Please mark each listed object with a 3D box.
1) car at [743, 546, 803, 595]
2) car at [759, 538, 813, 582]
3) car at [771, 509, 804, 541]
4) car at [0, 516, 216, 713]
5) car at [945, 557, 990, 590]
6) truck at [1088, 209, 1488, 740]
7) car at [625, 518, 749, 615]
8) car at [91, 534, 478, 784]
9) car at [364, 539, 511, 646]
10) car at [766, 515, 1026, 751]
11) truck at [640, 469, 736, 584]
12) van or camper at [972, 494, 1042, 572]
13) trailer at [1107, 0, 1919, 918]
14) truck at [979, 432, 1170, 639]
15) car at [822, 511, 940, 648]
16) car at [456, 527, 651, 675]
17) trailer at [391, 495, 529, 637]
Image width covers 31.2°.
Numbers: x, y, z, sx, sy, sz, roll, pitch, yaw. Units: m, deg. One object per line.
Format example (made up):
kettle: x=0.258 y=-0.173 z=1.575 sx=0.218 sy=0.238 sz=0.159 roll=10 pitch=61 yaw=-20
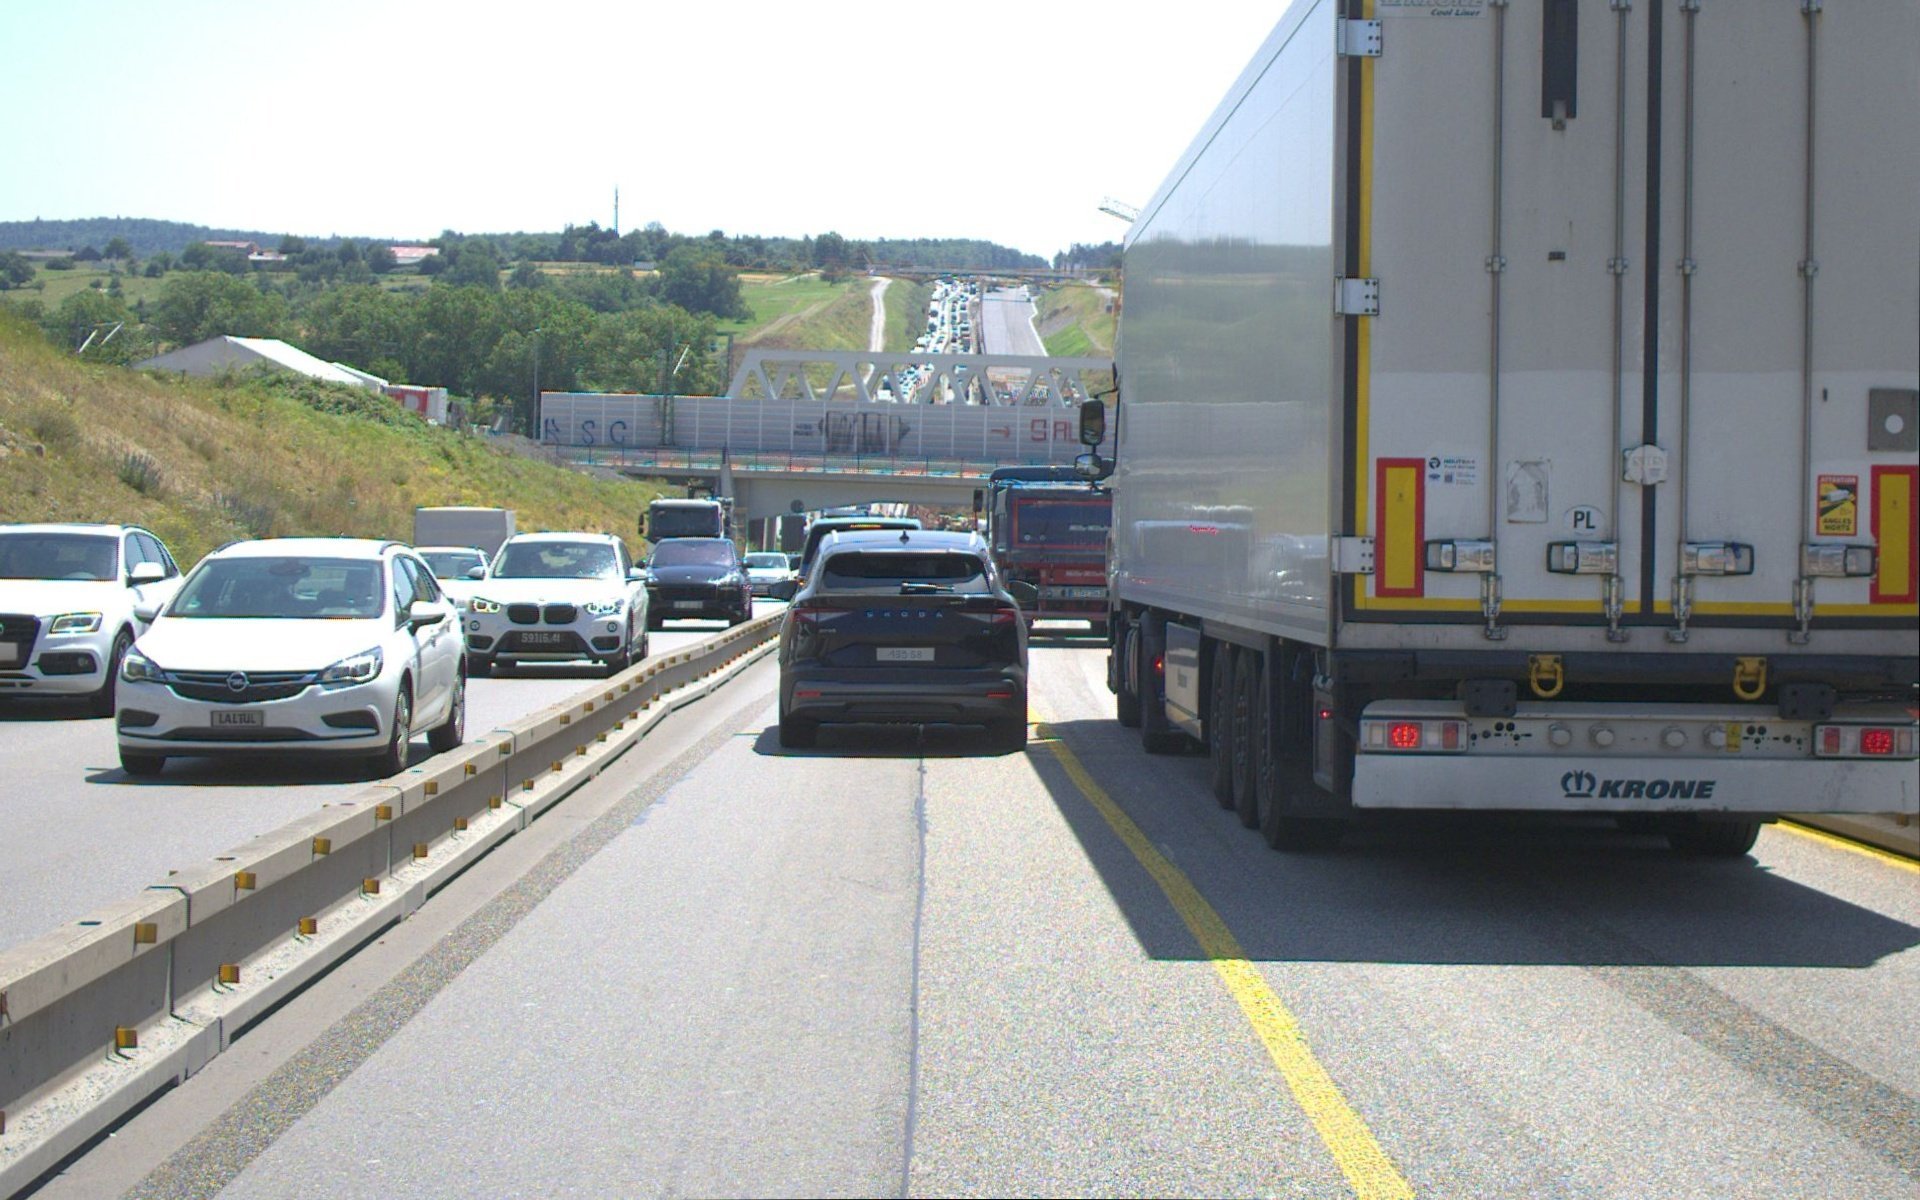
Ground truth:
car: x=-5.563 y=-0.890 z=102.456 sx=1.684 sy=1.425 sz=3.293 roll=0 pitch=1 yaw=-2
car: x=-5.734 y=-1.337 z=113.648 sx=1.684 sy=1.425 sz=4.123 roll=0 pitch=1 yaw=-2
car: x=-9.751 y=-4.239 z=194.118 sx=1.732 sy=1.787 sz=3.581 roll=1 pitch=1 yaw=-1
car: x=-7.898 y=0.068 z=30.030 sx=1.899 sy=1.579 sz=4.515 roll=1 pitch=1 yaw=-1
car: x=0.266 y=-0.987 z=128.065 sx=1.538 sy=1.202 sz=3.311 roll=0 pitch=1 yaw=-3
truck: x=2.601 y=-0.991 z=28.775 sx=2.776 sy=4.044 sz=4.905 roll=1 pitch=1 yaw=-1
car: x=-4.922 y=-0.630 z=62.398 sx=1.891 sy=1.702 sz=4.561 roll=0 pitch=1 yaw=0
car: x=-4.367 y=0.315 z=22.848 sx=1.806 sy=1.472 sz=4.281 roll=1 pitch=1 yaw=-1
car: x=-7.242 y=-0.135 z=47.928 sx=1.646 sy=1.411 sz=4.001 roll=0 pitch=1 yaw=-3
car: x=-0.465 y=0.190 z=25.761 sx=1.800 sy=1.615 sz=3.298 roll=1 pitch=2 yaw=-1
truck: x=-9.089 y=-2.463 z=115.765 sx=2.587 sy=3.710 sz=9.333 roll=0 pitch=1 yaw=-1
van or camper: x=1.423 y=-2.060 z=105.010 sx=1.993 sy=2.237 sz=4.000 roll=2 pitch=1 yaw=0
trailer: x=2.703 y=-0.852 z=20.782 sx=2.801 sy=4.044 sz=14.118 roll=1 pitch=1 yaw=-1
truck: x=1.781 y=-1.087 z=58.767 sx=2.814 sy=3.124 sz=12.838 roll=1 pitch=1 yaw=0
car: x=-1.042 y=-0.301 z=46.522 sx=1.475 sy=1.789 sz=3.297 roll=0 pitch=1 yaw=1
car: x=-4.616 y=-0.030 z=39.583 sx=1.815 sy=1.587 sz=4.290 roll=1 pitch=1 yaw=-1
trailer: x=-7.406 y=-0.523 z=51.188 sx=1.646 sy=2.018 sz=4.271 roll=0 pitch=1 yaw=-3
